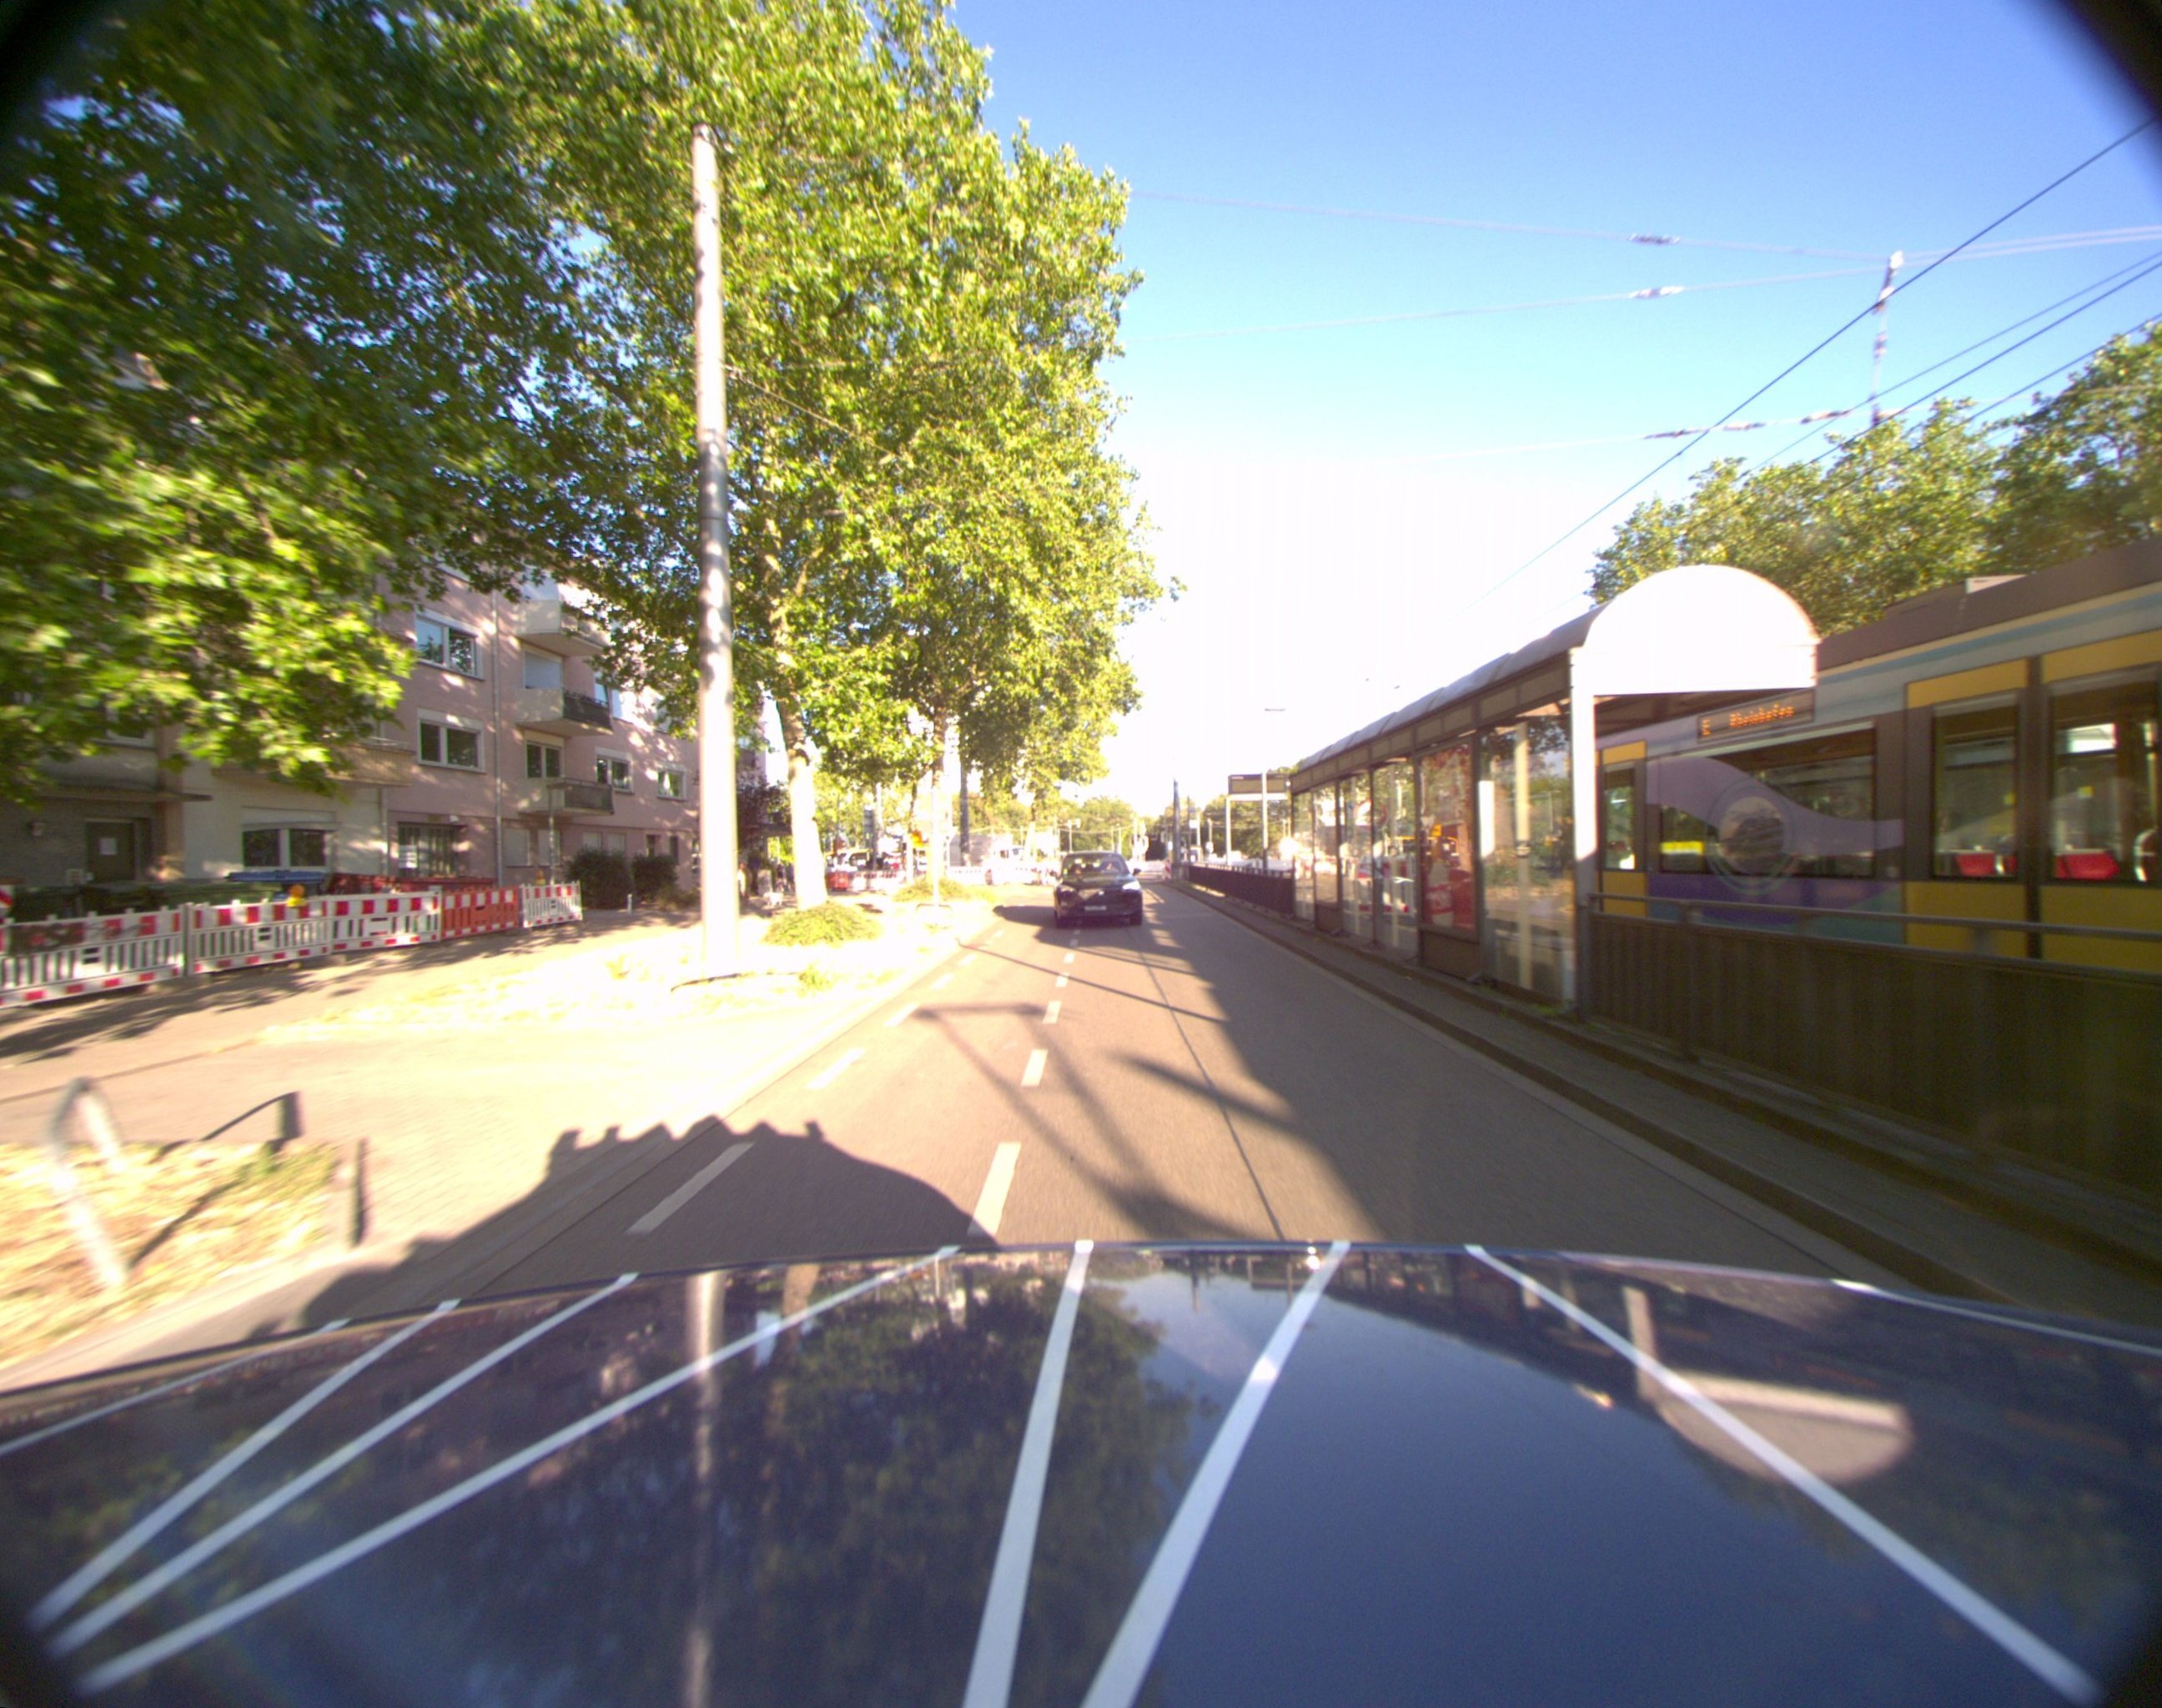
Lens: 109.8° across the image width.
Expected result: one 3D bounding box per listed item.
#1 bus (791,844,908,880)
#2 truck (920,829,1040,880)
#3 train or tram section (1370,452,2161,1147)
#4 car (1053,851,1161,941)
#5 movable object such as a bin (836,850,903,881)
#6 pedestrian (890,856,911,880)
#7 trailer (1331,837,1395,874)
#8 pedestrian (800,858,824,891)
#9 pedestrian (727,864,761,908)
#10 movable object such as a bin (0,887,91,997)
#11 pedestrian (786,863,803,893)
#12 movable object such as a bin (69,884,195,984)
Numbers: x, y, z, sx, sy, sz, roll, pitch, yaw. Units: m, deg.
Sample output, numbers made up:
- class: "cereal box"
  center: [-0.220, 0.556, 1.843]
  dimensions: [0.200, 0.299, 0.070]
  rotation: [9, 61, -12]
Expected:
- class: "bus"
  center: [-26.348, 0.895, 86.949]
  dimensions: [12.293, 3.701, 3.087]
  rotation: [-1, 0, -1]
- class: "truck"
  center: [-7.625, 0.079, 56.562]
  dimensions: [8.959, 3.520, 2.826]
  rotation: [-2, 0, 32]
- class: "train or tram section"
  center: [7.152, -0.321, 9.072]
  dimensions: [2.856, 3.512, 13.398]
  rotation: [-1, 0, 3]
- class: "car"
  center: [0.415, 0.811, 16.632]
  dimensions: [1.999, 1.637, 4.203]
  rotation: [-2, 0, -2]
- class: "movable object such as a bin"
  center: [-16.541, 0.910, 59.265]
  dimensions: [5.193, 2.244, 2.003]
  rotation: [-2, 2, 33]
- class: "pedestrian"
  center: [-13.672, 1.053, 57.625]
  dimensions: [1.067, 1.788, 0.977]
  rotation: [-2, 1, 24]
- class: "trailer"
  center: [17.134, 0.117, 46.402]
  dimensions: [1.999, 2.102, 4.345]
  rotation: [-1, -1, -5]
- class: "pedestrian"
  center: [-15.912, 1.226, 44.894]
  dimensions: [1.097, 1.857, 0.842]
  rotation: [-4, -3, 38]
- class: "pedestrian"
  center: [-11.676, 1.098, 26.324]
  dimensions: [0.792, 1.465, 0.816]
  rotation: [-1, 0, -2]
- class: "movable object such as a bin"
  center: [-14.790, 1.203, 10.677]
  dimensions: [1.295, 1.426, 0.841]
  rotation: [-1, 1, 29]
- class: "pedestrian"
  center: [-16.664, 1.372, 44.149]
  dimensions: [0.677, 1.697, 0.586]
  rotation: [-4, -3, 34]
- class: "movable object such as a bin"
  center: [-14.582, 1.197, 11.687]
  dimensions: [1.295, 1.426, 0.841]
  rotation: [-1, 1, 22]
